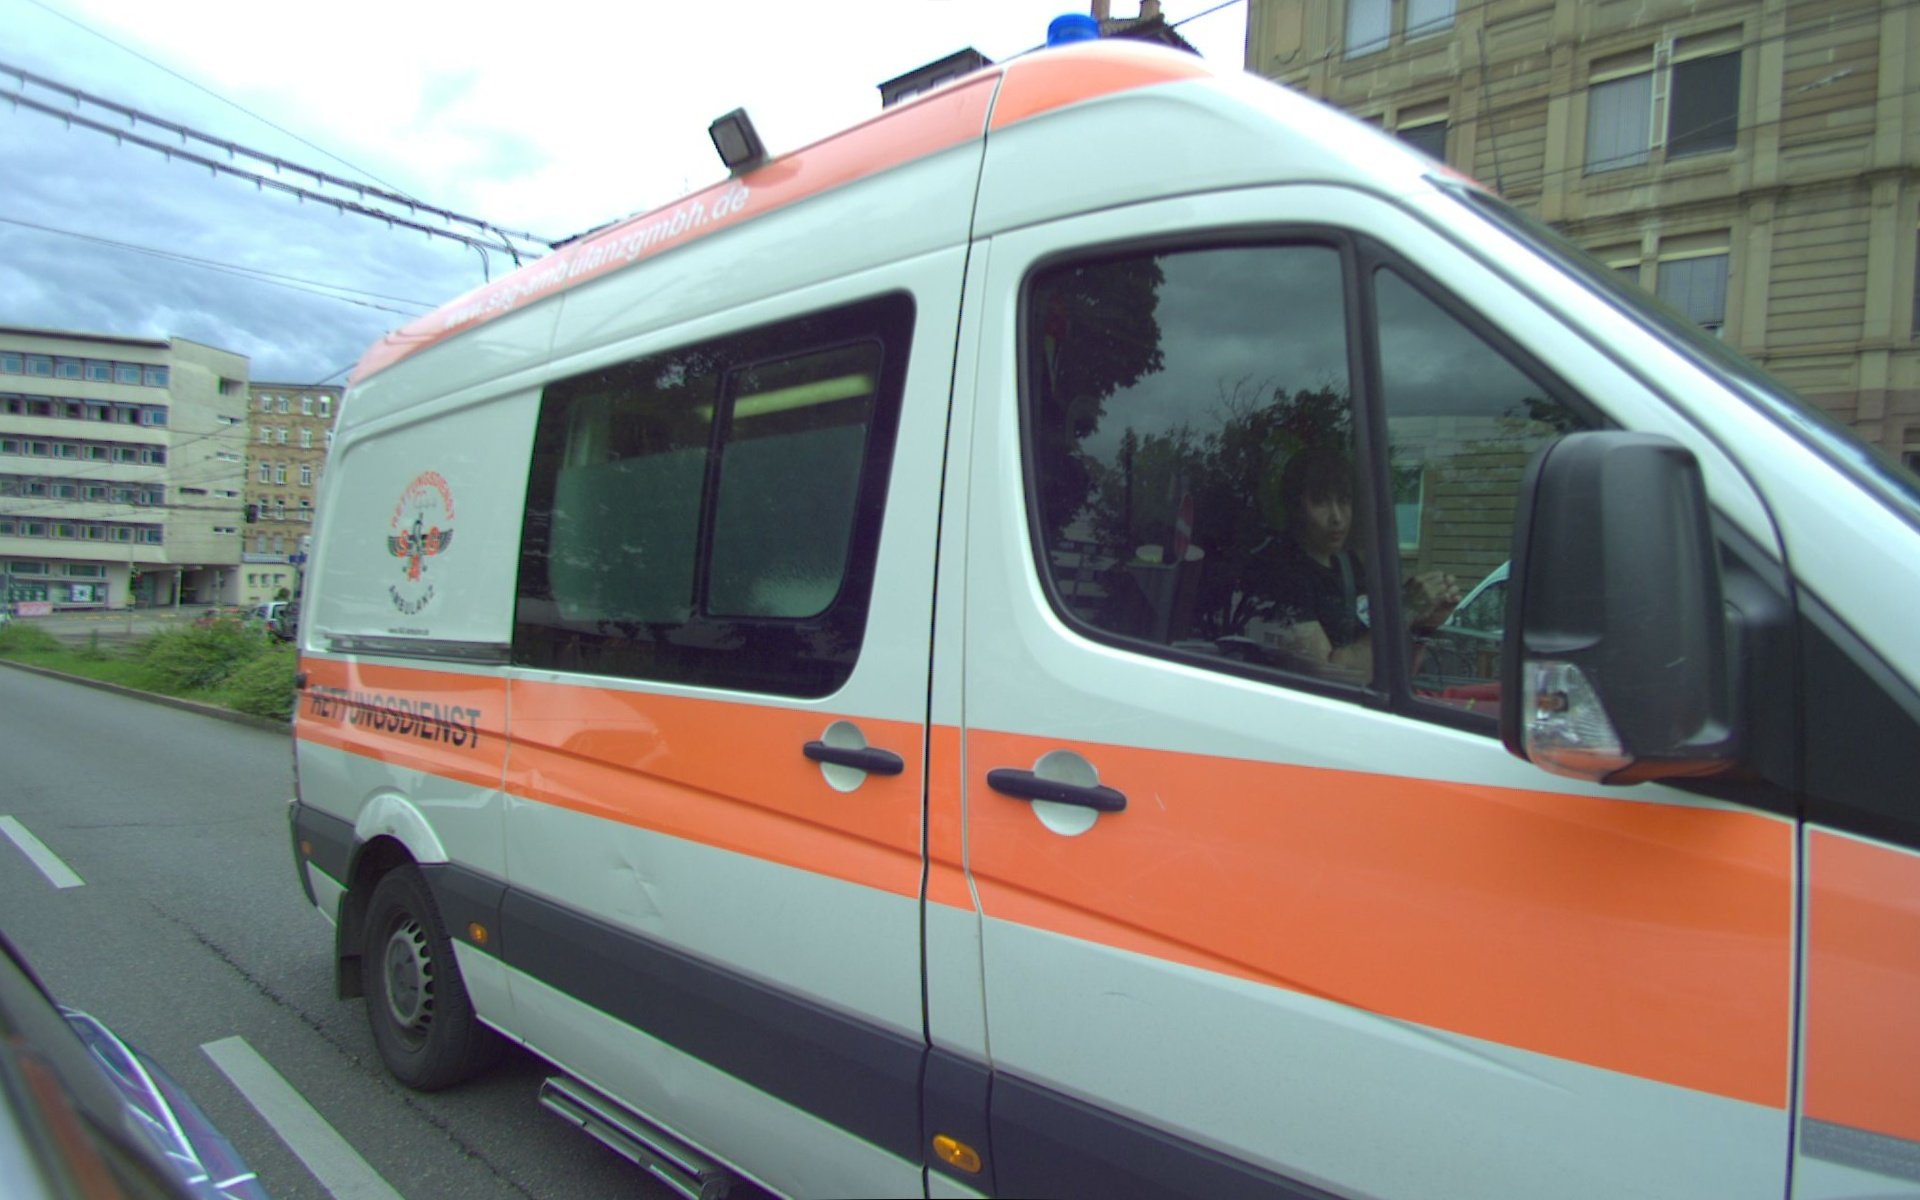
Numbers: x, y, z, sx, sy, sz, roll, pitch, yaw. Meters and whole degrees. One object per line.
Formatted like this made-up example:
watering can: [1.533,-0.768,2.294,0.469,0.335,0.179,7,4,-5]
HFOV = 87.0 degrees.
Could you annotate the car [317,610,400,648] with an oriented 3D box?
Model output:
car: [-25.487,1.222,42.829,3.998,1.522,1.864,-1,-2,41]

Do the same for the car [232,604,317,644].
car: [-28.757,1.004,42.401,3.998,1.596,1.973,-1,-2,41]

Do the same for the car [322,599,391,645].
car: [-29.819,1.089,49.977,3.915,2.137,1.771,-1,-2,41]

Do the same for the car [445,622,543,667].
car: [-16.179,1.500,35.087,3.746,1.463,1.704,-1,-2,41]

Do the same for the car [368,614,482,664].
car: [-17.399,1.235,32.857,3.997,1.507,1.875,-1,-2,40]

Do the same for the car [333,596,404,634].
car: [-31.464,0.810,53.797,3.994,1.930,1.825,-1,-2,38]

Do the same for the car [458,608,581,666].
car: [-12.513,1.023,28.638,3.757,1.541,1.736,-1,-2,41]

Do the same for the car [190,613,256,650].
car: [-33.852,1.442,46.460,3.843,1.641,1.659,-1,-2,42]

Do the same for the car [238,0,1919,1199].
car: [0.075,0.416,2.728,5.852,2.720,2.012,-1,-2,42]

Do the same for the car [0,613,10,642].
car: [-51.352,1.407,52.353,1.965,1.564,4.331,1,-2,-26]

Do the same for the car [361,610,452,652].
car: [-21.683,1.200,39.579,3.996,1.581,1.737,-1,-2,39]

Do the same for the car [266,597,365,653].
car: [-24.986,0.954,39.142,4.748,2.029,2.118,-1,-2,44]

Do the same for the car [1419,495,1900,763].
car: [8.920,0.368,13.309,2.181,2.844,4.792,2,-2,-40]
